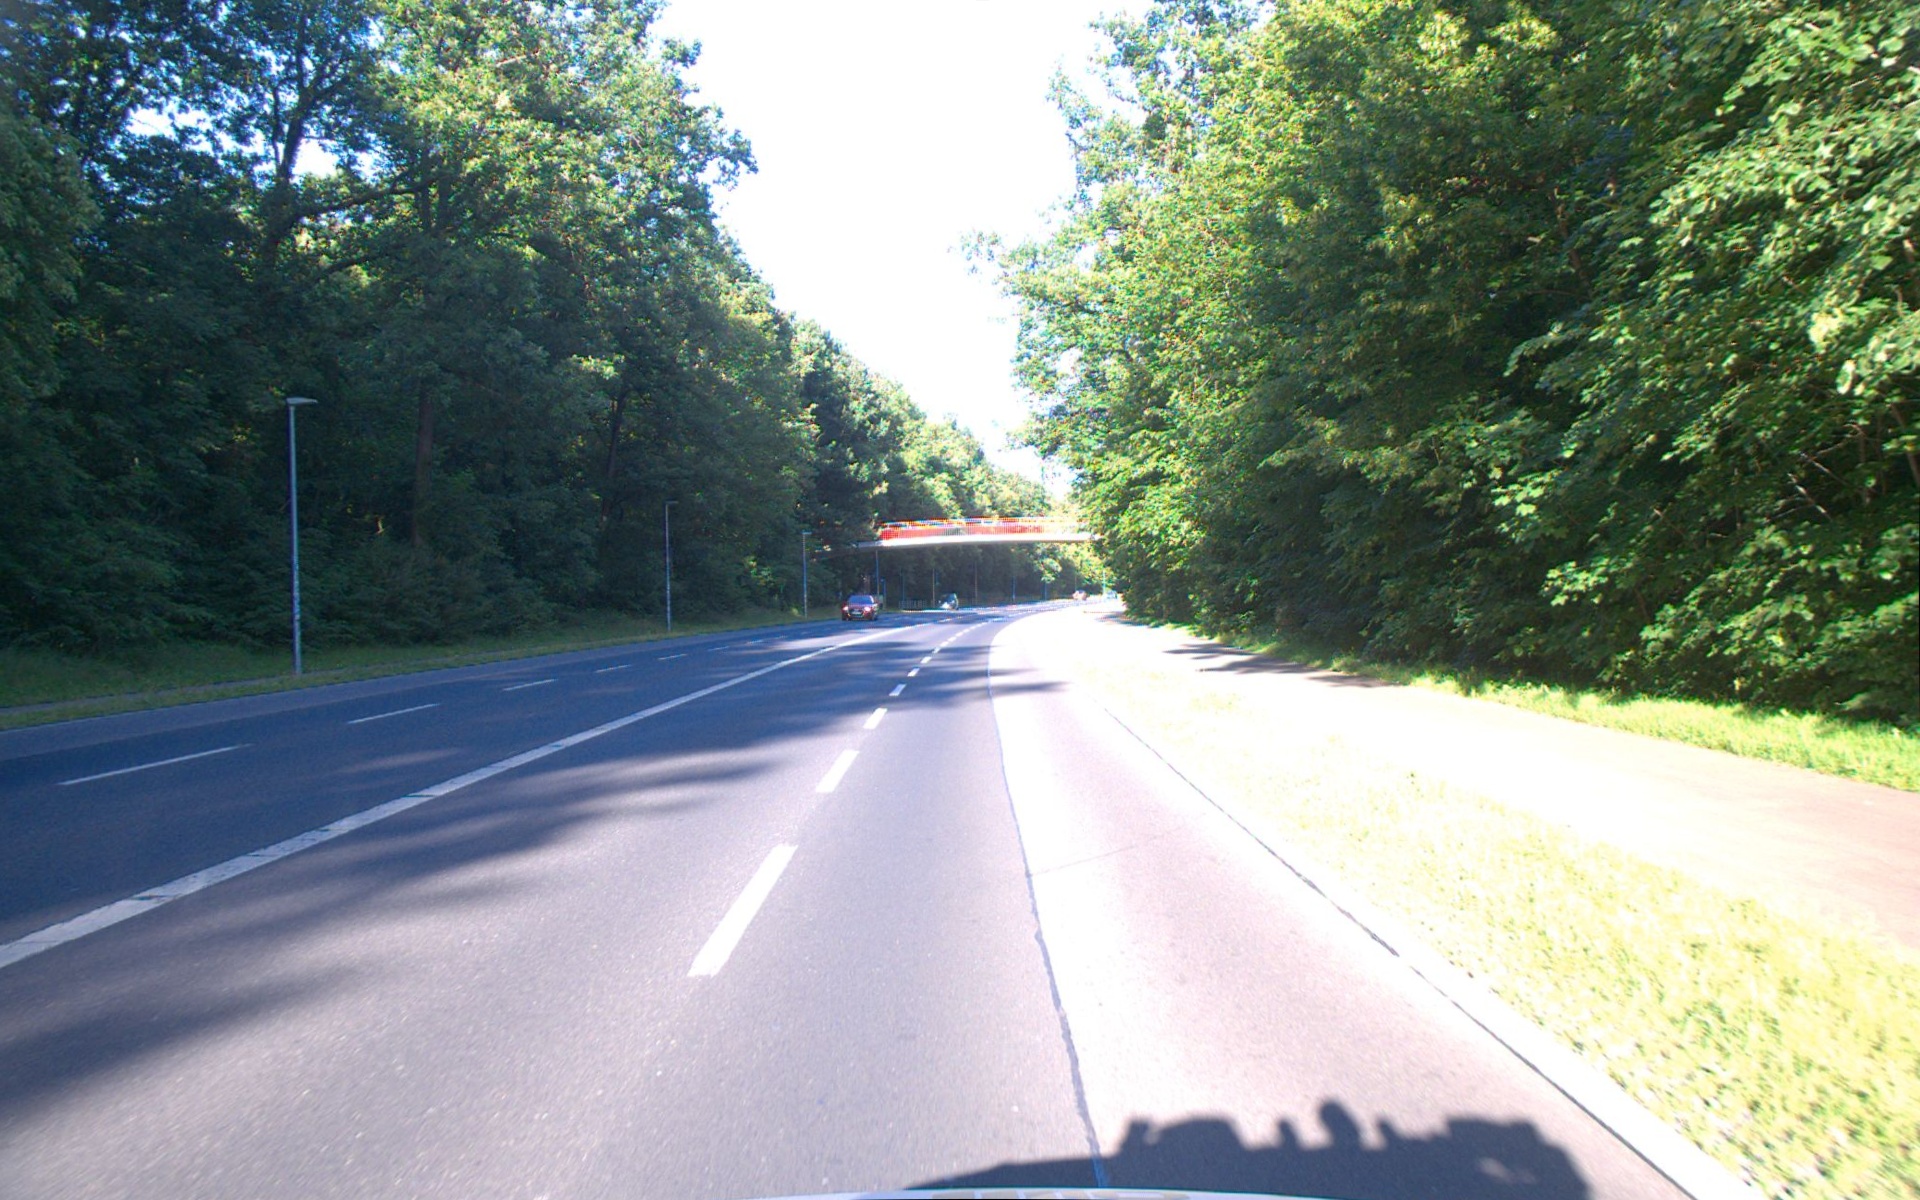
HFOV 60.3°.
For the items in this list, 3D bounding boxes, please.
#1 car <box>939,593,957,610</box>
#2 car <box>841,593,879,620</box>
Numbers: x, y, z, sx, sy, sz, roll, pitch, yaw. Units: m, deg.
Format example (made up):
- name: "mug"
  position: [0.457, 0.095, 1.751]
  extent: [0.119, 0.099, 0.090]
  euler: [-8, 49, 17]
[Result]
- name: "car"
  position: [-1.074, 0.153, 145.532]
  extent: [1.464, 1.469, 3.501]
  euler: [0, 0, 1]
- name: "car"
  position: [-5.562, 0.334, 92.217]
  extent: [1.674, 1.448, 4.132]
  euler: [0, 0, 3]
